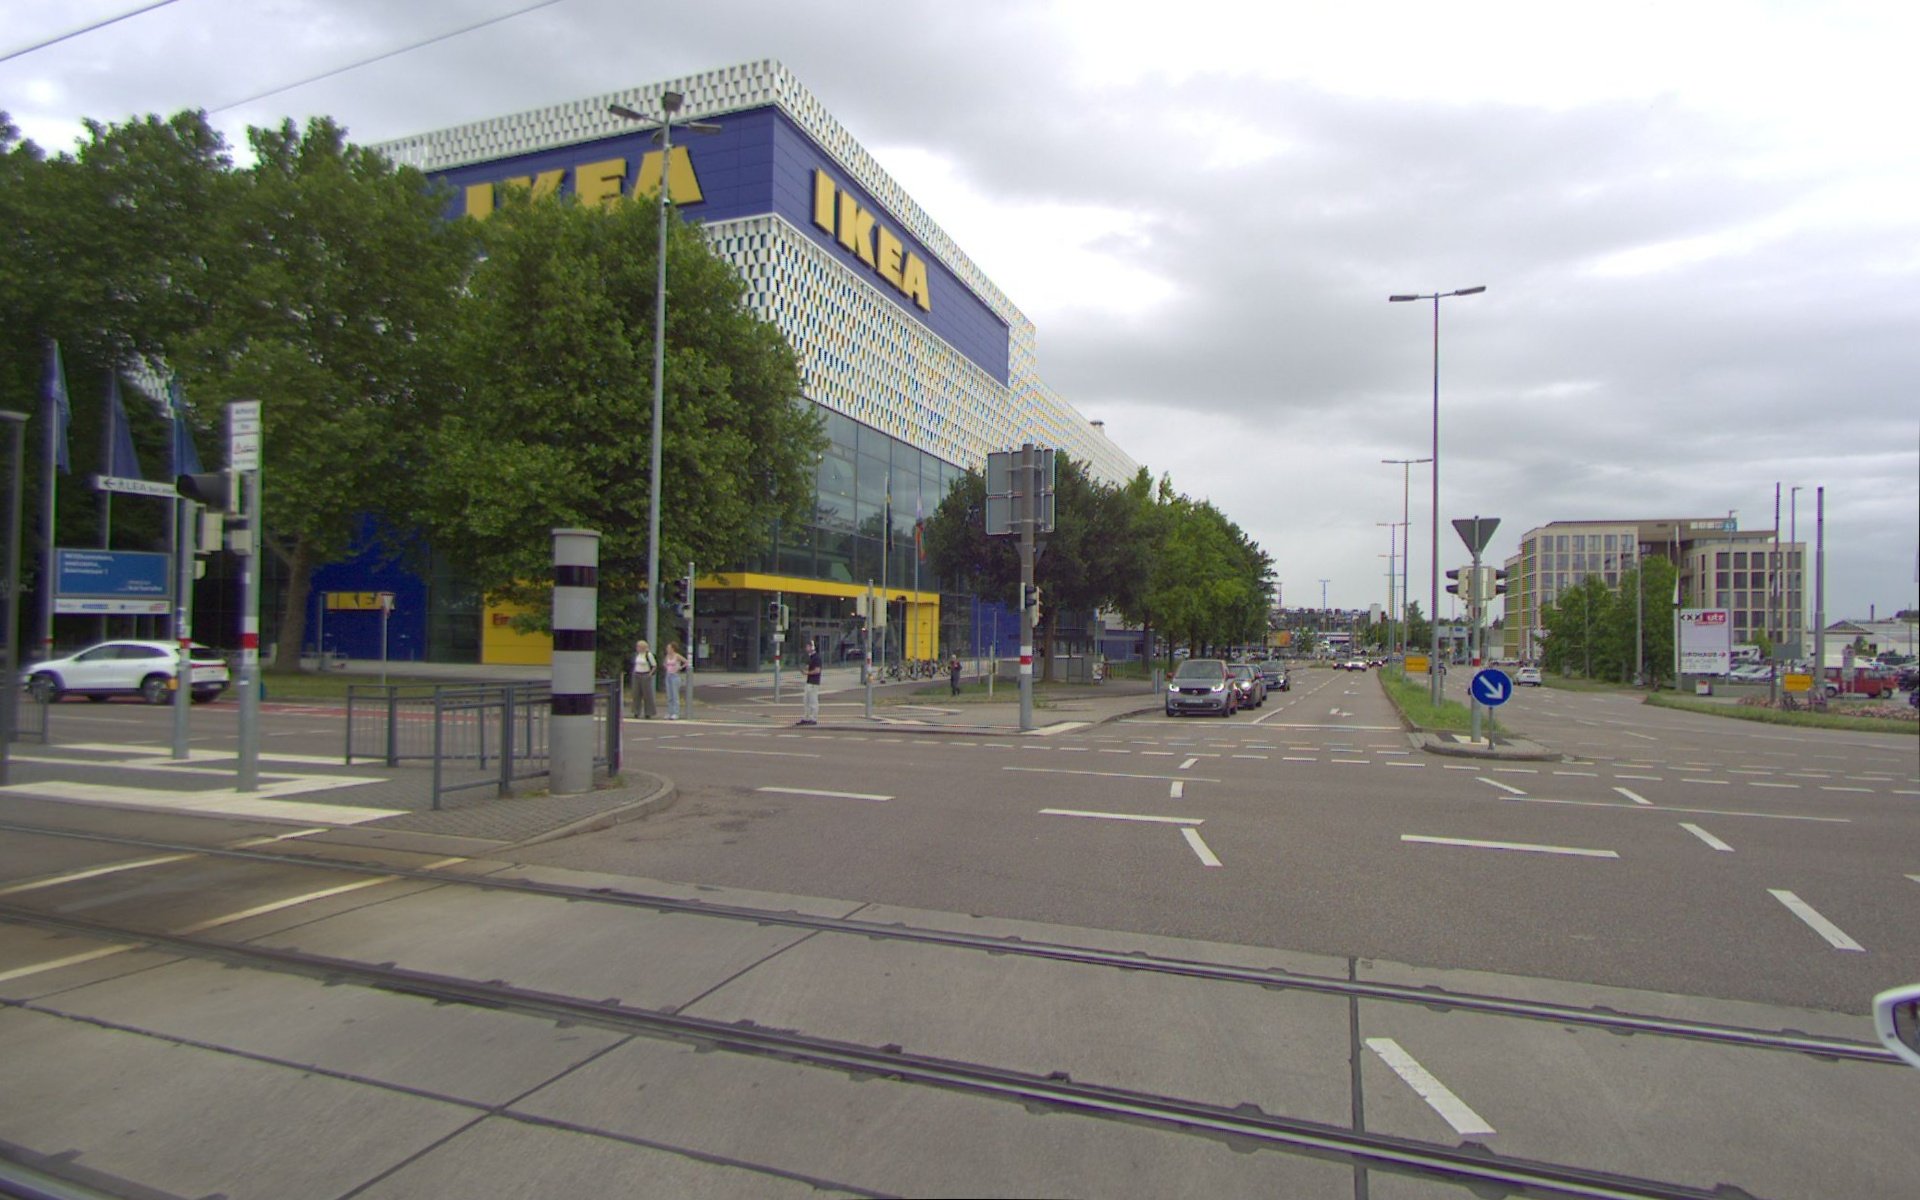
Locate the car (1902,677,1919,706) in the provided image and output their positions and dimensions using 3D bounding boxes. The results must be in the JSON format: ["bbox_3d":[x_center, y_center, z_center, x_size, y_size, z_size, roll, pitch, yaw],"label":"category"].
[{"bbox_3d":[51.118,4.732,51.365,3.924,1.474,1.814,0,-3,24],"label":"car"}]

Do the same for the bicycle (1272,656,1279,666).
[{"bbox_3d":[39.460,7.619,125.679,0.632,1.267,2.056,2,-2,22],"label":"bicycle"}]

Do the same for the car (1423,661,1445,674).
[{"bbox_3d":[53.186,7.570,112.756,1.955,1.447,4.242,1,-3,22],"label":"car"}]

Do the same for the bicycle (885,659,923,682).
[{"bbox_3d":[-3.079,3.849,54.983,1.983,1.172,0.594,2,-2,21],"label":"bicycle"}]

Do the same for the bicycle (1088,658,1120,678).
[{"bbox_3d":[9.357,4.404,65.447,1.990,1.172,0.591,2,-2,38],"label":"bicycle"}]

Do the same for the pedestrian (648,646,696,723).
[{"bbox_3d":[-6.629,1.933,23.124,0.663,1.734,0.765,0,-3,26],"label":"pedestrian"}]

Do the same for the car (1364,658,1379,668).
[{"bbox_3d":[59.242,9.044,144.750,1.900,1.505,4.439,-1,-3,22],"label":"car"}]

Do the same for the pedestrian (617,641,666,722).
[{"bbox_3d":[-7.339,1.877,23.168,0.664,1.820,0.764,0,-4,32],"label":"pedestrian"}]

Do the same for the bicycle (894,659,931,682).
[{"bbox_3d":[-2.652,3.915,56.001,1.983,1.172,0.594,2,-2,21],"label":"bicycle"}]

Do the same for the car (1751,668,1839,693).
[{"bbox_3d":[57.922,5.585,69.789,4.305,1.480,1.959,0,0,25],"label":"car"}]

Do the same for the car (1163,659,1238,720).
[{"bbox_3d":[6.672,2.413,27.637,1.576,1.522,3.210,-2,-3,21],"label":"car"}]

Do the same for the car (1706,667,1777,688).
[{"bbox_3d":[61.441,6.080,79.036,3.988,1.368,1.834,0,0,22],"label":"car"}]

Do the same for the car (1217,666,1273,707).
[{"bbox_3d":[10.844,3.238,38.054,1.577,1.463,4.144,-2,-4,22],"label":"car"}]

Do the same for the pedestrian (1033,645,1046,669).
[{"bbox_3d":[5.970,4.247,75.351,0.666,1.769,0.808,1,-1,22],"label":"pedestrian"}]

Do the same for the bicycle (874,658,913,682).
[{"bbox_3d":[-3.589,3.766,54.002,1.983,1.172,0.594,2,-2,21],"label":"bicycle"}]

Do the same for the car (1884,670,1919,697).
[{"bbox_3d":[70.145,6.119,72.799,4.245,1.767,1.887,1,0,26],"label":"car"}]

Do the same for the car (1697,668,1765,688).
[{"bbox_3d":[62.515,6.338,81.515,3.988,1.368,1.763,0,0,22],"label":"car"}]

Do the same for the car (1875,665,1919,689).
[{"bbox_3d":[71.486,5.817,75.171,4.107,1.685,1.832,1,-2,26],"label":"car"}]

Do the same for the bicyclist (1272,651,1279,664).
[{"bbox_3d":[39.501,7.239,125.697,0.630,1.598,1.000,2,-2,22],"label":"bicyclist"}]

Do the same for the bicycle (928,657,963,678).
[{"bbox_3d":[-0.851,4.070,60.566,1.982,1.172,0.594,2,-2,17],"label":"bicycle"}]

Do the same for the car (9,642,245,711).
[{"bbox_3d":[-21.516,1.966,26.121,4.327,1.606,1.893,2,-3,-5],"label":"car"}]

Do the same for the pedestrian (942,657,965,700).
[{"bbox_3d":[-0.243,3.088,39.771,0.622,1.663,0.810,1,-4,20],"label":"pedestrian"}]

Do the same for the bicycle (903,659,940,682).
[{"bbox_3d":[-2.176,3.991,57.135,1.983,1.172,0.594,2,-2,21],"label":"bicycle"}]

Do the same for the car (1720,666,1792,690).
[{"bbox_3d":[60.473,5.912,76.385,3.990,1.561,1.762,0,0,25],"label":"car"}]

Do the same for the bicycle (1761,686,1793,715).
[{"bbox_3d":[31.744,3.901,39.041,0.653,1.062,1.689,0,-3,29],"label":"bicycle"}]

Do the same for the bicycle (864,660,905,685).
[{"bbox_3d":[-3.944,3.779,52.639,1.981,1.172,0.594,3,-1,7],"label":"bicycle"}]

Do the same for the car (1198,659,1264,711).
[{"bbox_3d":[8.824,2.703,32.497,1.635,1.522,4.066,0,-3,21],"label":"car"}]

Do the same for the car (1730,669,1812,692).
[{"bbox_3d":[59.689,5.892,74.024,4.395,1.438,1.866,0,0,25],"label":"car"}]

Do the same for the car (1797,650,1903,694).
[{"bbox_3d":[57.485,4.611,65.005,4.648,2.614,2.169,0,0,25],"label":"car"}]

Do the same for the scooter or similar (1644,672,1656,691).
[{"bbox_3d":[52.570,6.182,76.501,0.641,1.439,1.815,-1,-4,31],"label":"scooter or similar"}]

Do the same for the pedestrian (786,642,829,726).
[{"bbox_3d":[-3.295,1.836,21.800,0.651,1.787,0.688,-2,-7,20],"label":"pedestrian"}]

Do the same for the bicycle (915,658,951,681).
[{"bbox_3d":[-1.559,4.043,58.496,1.981,1.172,0.594,2,-1,10],"label":"bicycle"}]

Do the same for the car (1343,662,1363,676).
[{"bbox_3d":[44.361,7.828,113.448,1.900,1.538,4.181,-2,-4,23],"label":"car"}]

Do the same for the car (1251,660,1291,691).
[{"bbox_3d":[15.748,3.798,50.755,1.577,1.517,4.038,-2,-4,22],"label":"car"}]

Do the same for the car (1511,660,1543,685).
[{"bbox_3d":[48.217,6.133,85.494,1.962,1.775,4.177,0,-1,25],"label":"car"}]
